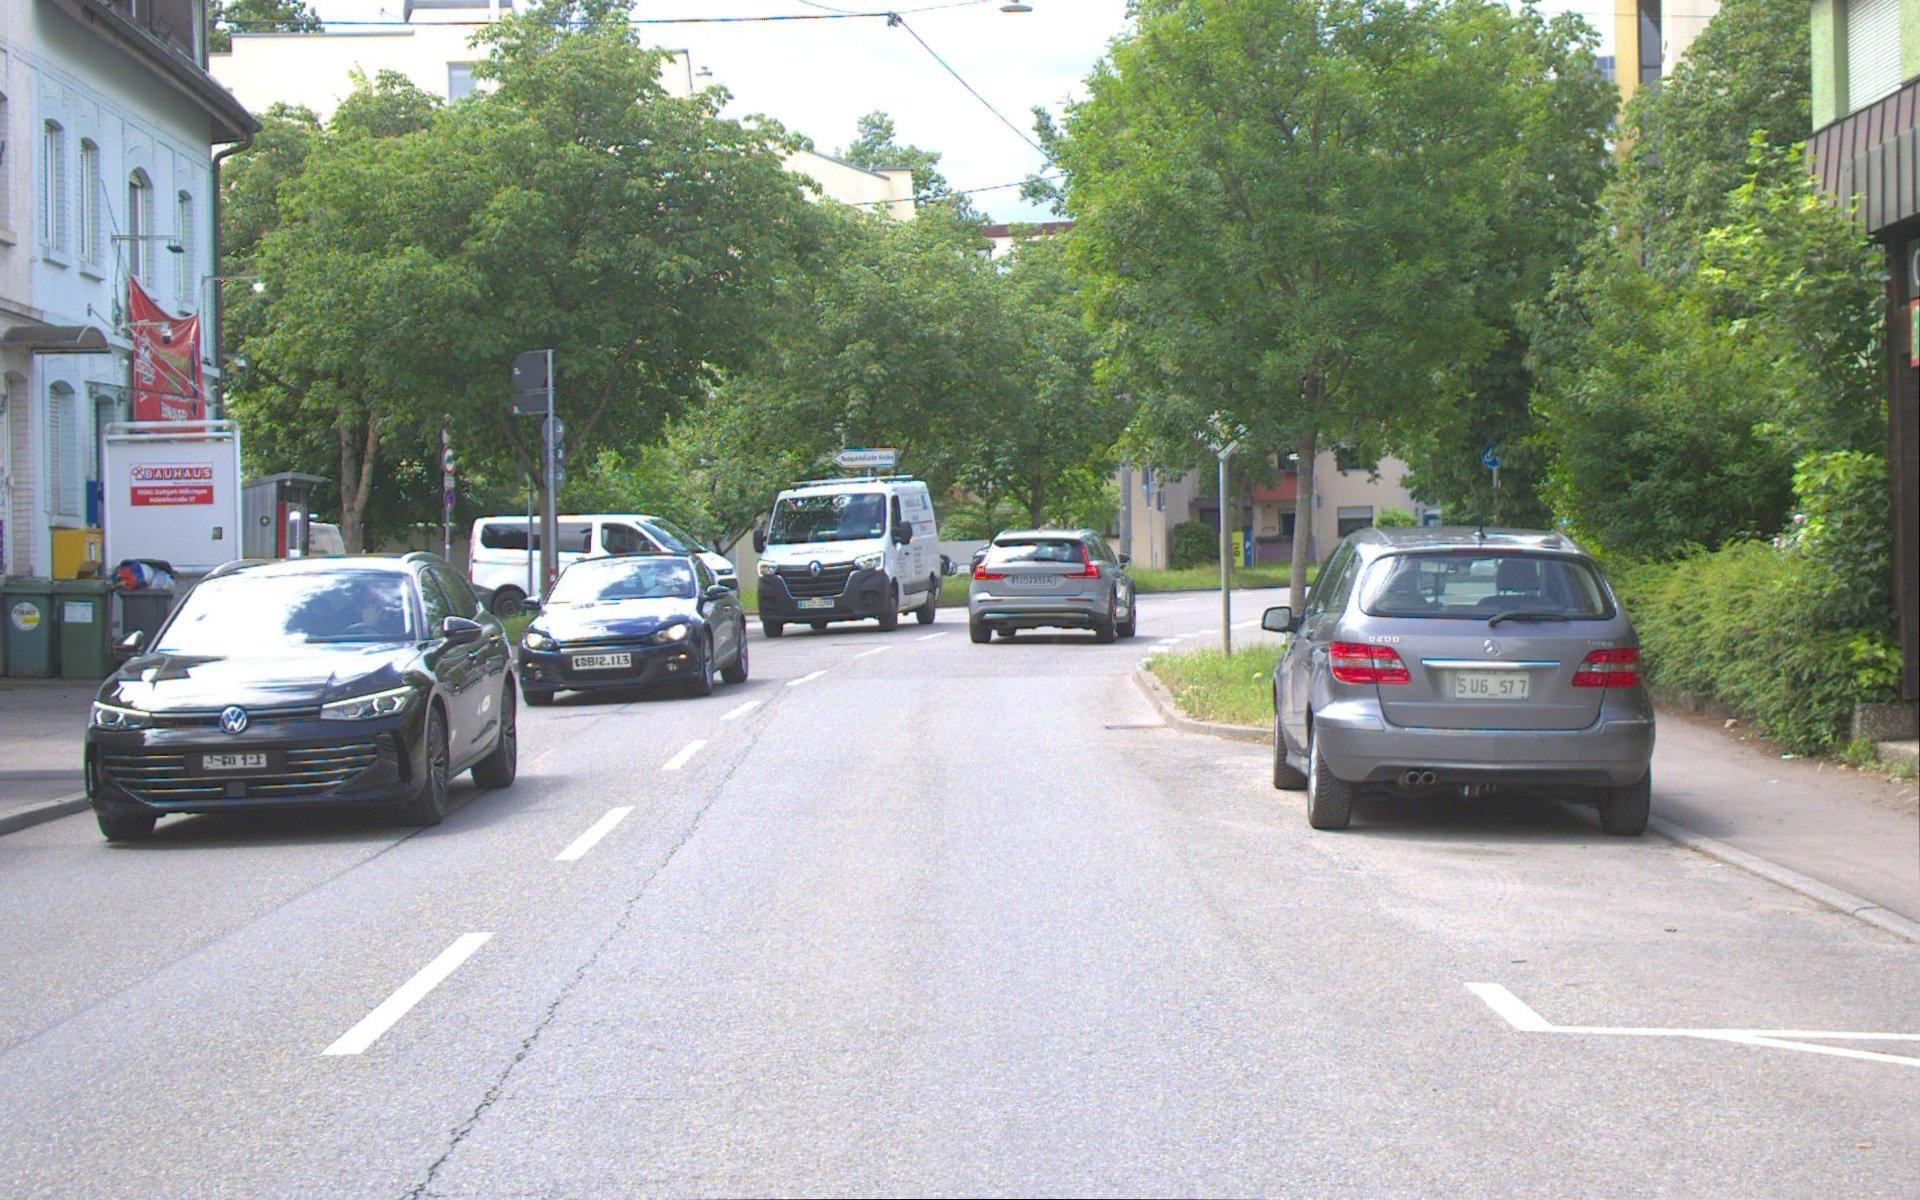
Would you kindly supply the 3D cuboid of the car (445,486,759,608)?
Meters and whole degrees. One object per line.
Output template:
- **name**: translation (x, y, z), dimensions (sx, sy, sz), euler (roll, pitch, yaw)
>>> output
- **car**: translation (-6.509, -0.962, 62.584), dimensions (5.216, 1.986, 2.107), euler (-2, 1, 18)

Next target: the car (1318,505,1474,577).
- **car**: translation (10.006, -1.360, 78.631), dimensions (1.808, 1.518, 4.321), euler (4, 3, 33)

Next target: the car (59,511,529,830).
- **car**: translation (-3.681, 0.342, 19.792), dimensions (1.776, 1.518, 4.462), euler (-4, 0, 0)

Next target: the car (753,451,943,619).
- **car**: translation (-1.646, -1.032, 52.681), dimensions (2.063, 2.345, 5.182), euler (-3, 1, 7)

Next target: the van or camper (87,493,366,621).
- **van or camper**: translation (-11.852, -0.670, 55.796), dimensions (1.788, 1.987, 4.370), euler (0, 0, 35)

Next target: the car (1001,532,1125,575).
- **car**: translation (3.688, -1.652, 122.479), dimensions (4.080, 1.395, 1.793), euler (1, -3, 15)

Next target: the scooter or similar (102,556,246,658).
- **scooter or similar**: translation (-9.250, 0.081, 40.482), dimensions (1.553, 1.180, 0.546), euler (1, 0, 0)

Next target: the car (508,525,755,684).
- **car**: translation (-3.176, 0.012, 34.017), dimensions (1.770, 1.420, 4.109), euler (-2, 1, 4)

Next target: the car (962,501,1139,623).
- **car**: translation (1.244, -0.475, 45.393), dimensions (1.956, 1.518, 4.328), euler (0, 0, 7)

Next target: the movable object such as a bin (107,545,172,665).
- **movable object such as a bin**: translation (-8.874, 0.049, 37.190), dimensions (0.564, 1.268, 0.563), euler (2, 1, -5)

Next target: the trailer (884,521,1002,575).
- **trailer**: translation (-0.600, -1.855, 123.603), dimensions (3.908, 1.793, 1.629), euler (1, -3, 13)

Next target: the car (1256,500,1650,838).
- **car**: translation (2.676, 0.286, 19.563), dimensions (1.690, 1.660, 4.462), euler (-1, 2, 1)

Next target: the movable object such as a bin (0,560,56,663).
- **movable object such as a bin**: translation (-10.113, 0.120, 37.115), dimensions (0.564, 1.097, 0.563), euler (2, 0, -5)

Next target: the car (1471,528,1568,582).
- **car**: translation (18.111, -1.436, 111.068), dimensions (1.807, 1.610, 4.323), euler (3, 1, 27)

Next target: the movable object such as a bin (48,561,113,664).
- **movable object such as a bin**: translation (-9.501, 0.132, 37.166), dimensions (0.564, 1.097, 0.563), euler (2, 0, -5)
